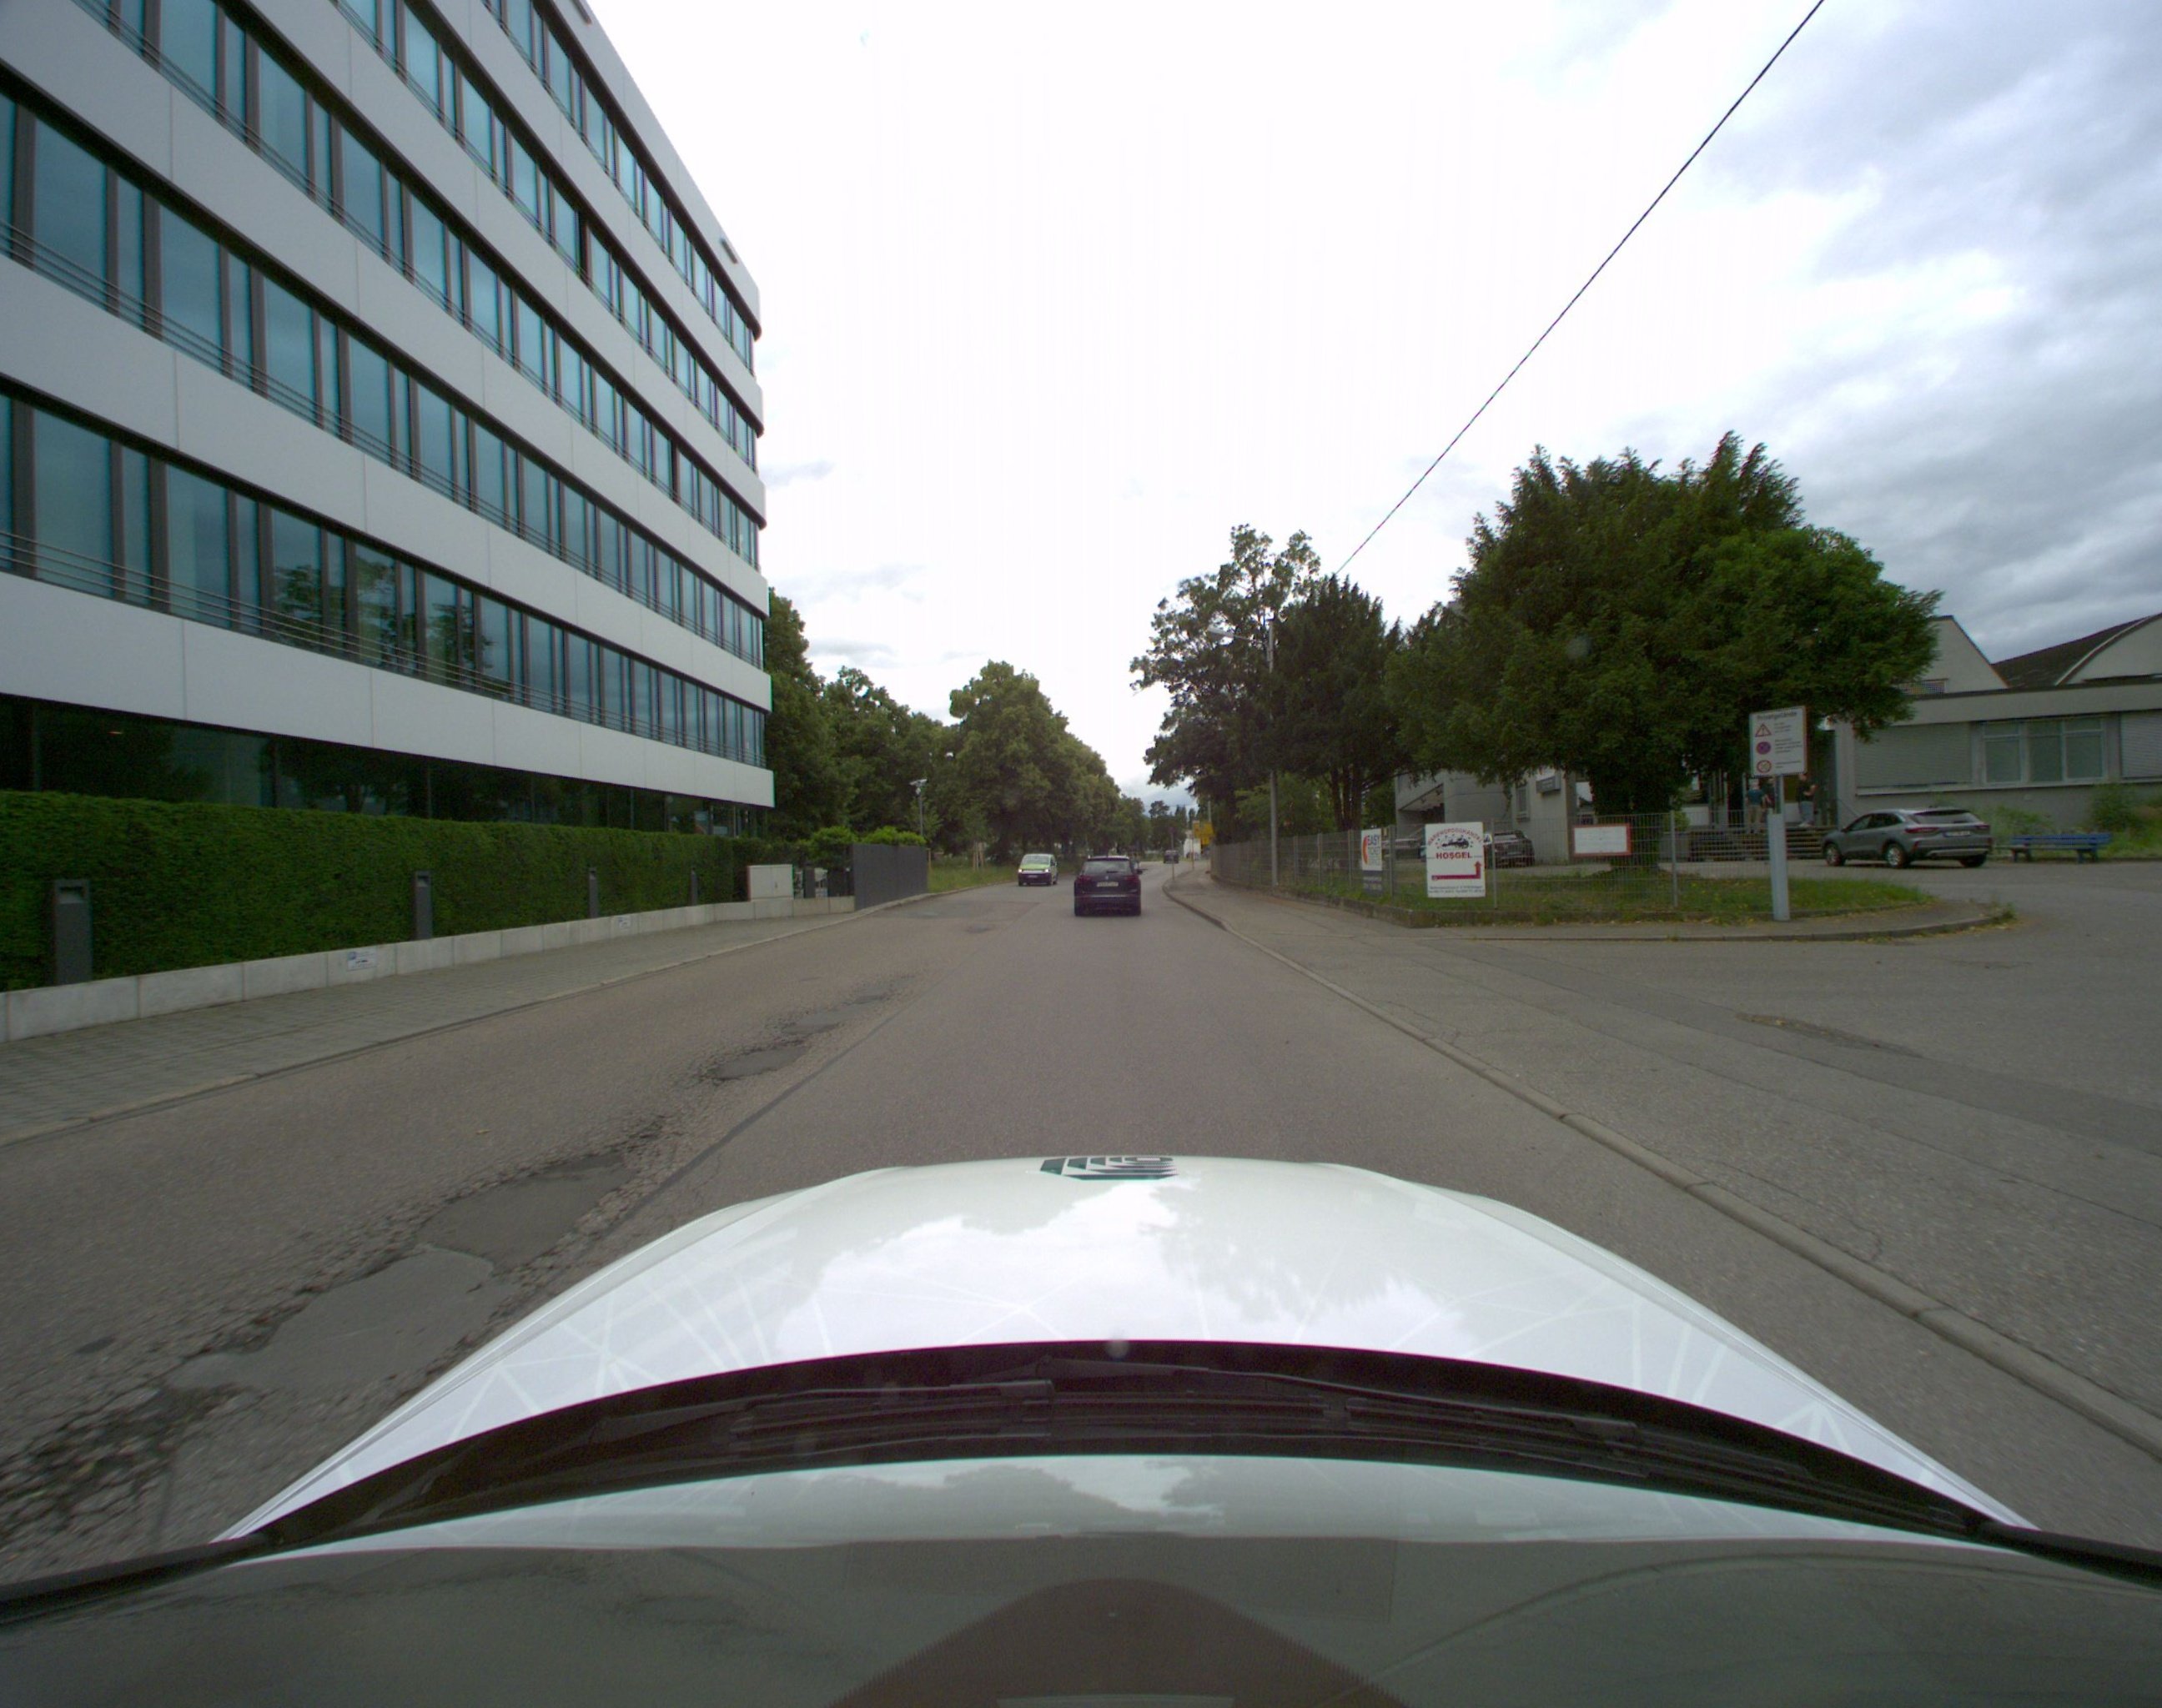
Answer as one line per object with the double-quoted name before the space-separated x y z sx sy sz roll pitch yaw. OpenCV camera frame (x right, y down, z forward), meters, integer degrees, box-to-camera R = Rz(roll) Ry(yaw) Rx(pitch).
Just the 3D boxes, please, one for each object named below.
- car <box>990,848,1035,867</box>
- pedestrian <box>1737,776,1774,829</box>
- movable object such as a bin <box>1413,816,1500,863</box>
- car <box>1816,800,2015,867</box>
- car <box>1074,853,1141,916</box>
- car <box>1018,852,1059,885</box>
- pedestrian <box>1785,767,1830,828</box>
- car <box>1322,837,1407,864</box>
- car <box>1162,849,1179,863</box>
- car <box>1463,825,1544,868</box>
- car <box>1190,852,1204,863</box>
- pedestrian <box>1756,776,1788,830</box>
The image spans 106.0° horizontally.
"car" -9.790 0.497 117.185 6.044 2.387 2.397 -2 0 3
"pedestrian" 23.524 -1.786 28.387 0.909 1.752 0.802 -3 -1 41
"movable object such as a bin" 20.537 -0.766 44.698 3.959 2.305 1.959 -3 0 13
"car" 23.219 -0.565 22.946 1.978 1.612 4.462 -3 1 17
"car" 0.789 0.813 22.956 1.732 1.618 3.644 -1 -1 3
"car" -2.318 0.765 45.531 1.800 1.764 4.209 -1 0 3
"pedestrian" 25.318 -1.947 28.391 0.788 2.013 0.925 -3 0 19
"car" 17.972 -0.219 51.777 2.010 1.474 4.638 -2 -1 -40
"car" 10.556 0.216 96.222 1.652 1.574 3.831 -3 0 2
"car" 17.796 -0.341 34.535 1.979 1.567 4.459 -5 0 14
"car" 20.181 0.651 141.612 1.978 1.786 4.017 -1 0 16
"pedestrian" 24.850 -1.818 29.305 0.736 1.885 0.699 -3 -1 35
